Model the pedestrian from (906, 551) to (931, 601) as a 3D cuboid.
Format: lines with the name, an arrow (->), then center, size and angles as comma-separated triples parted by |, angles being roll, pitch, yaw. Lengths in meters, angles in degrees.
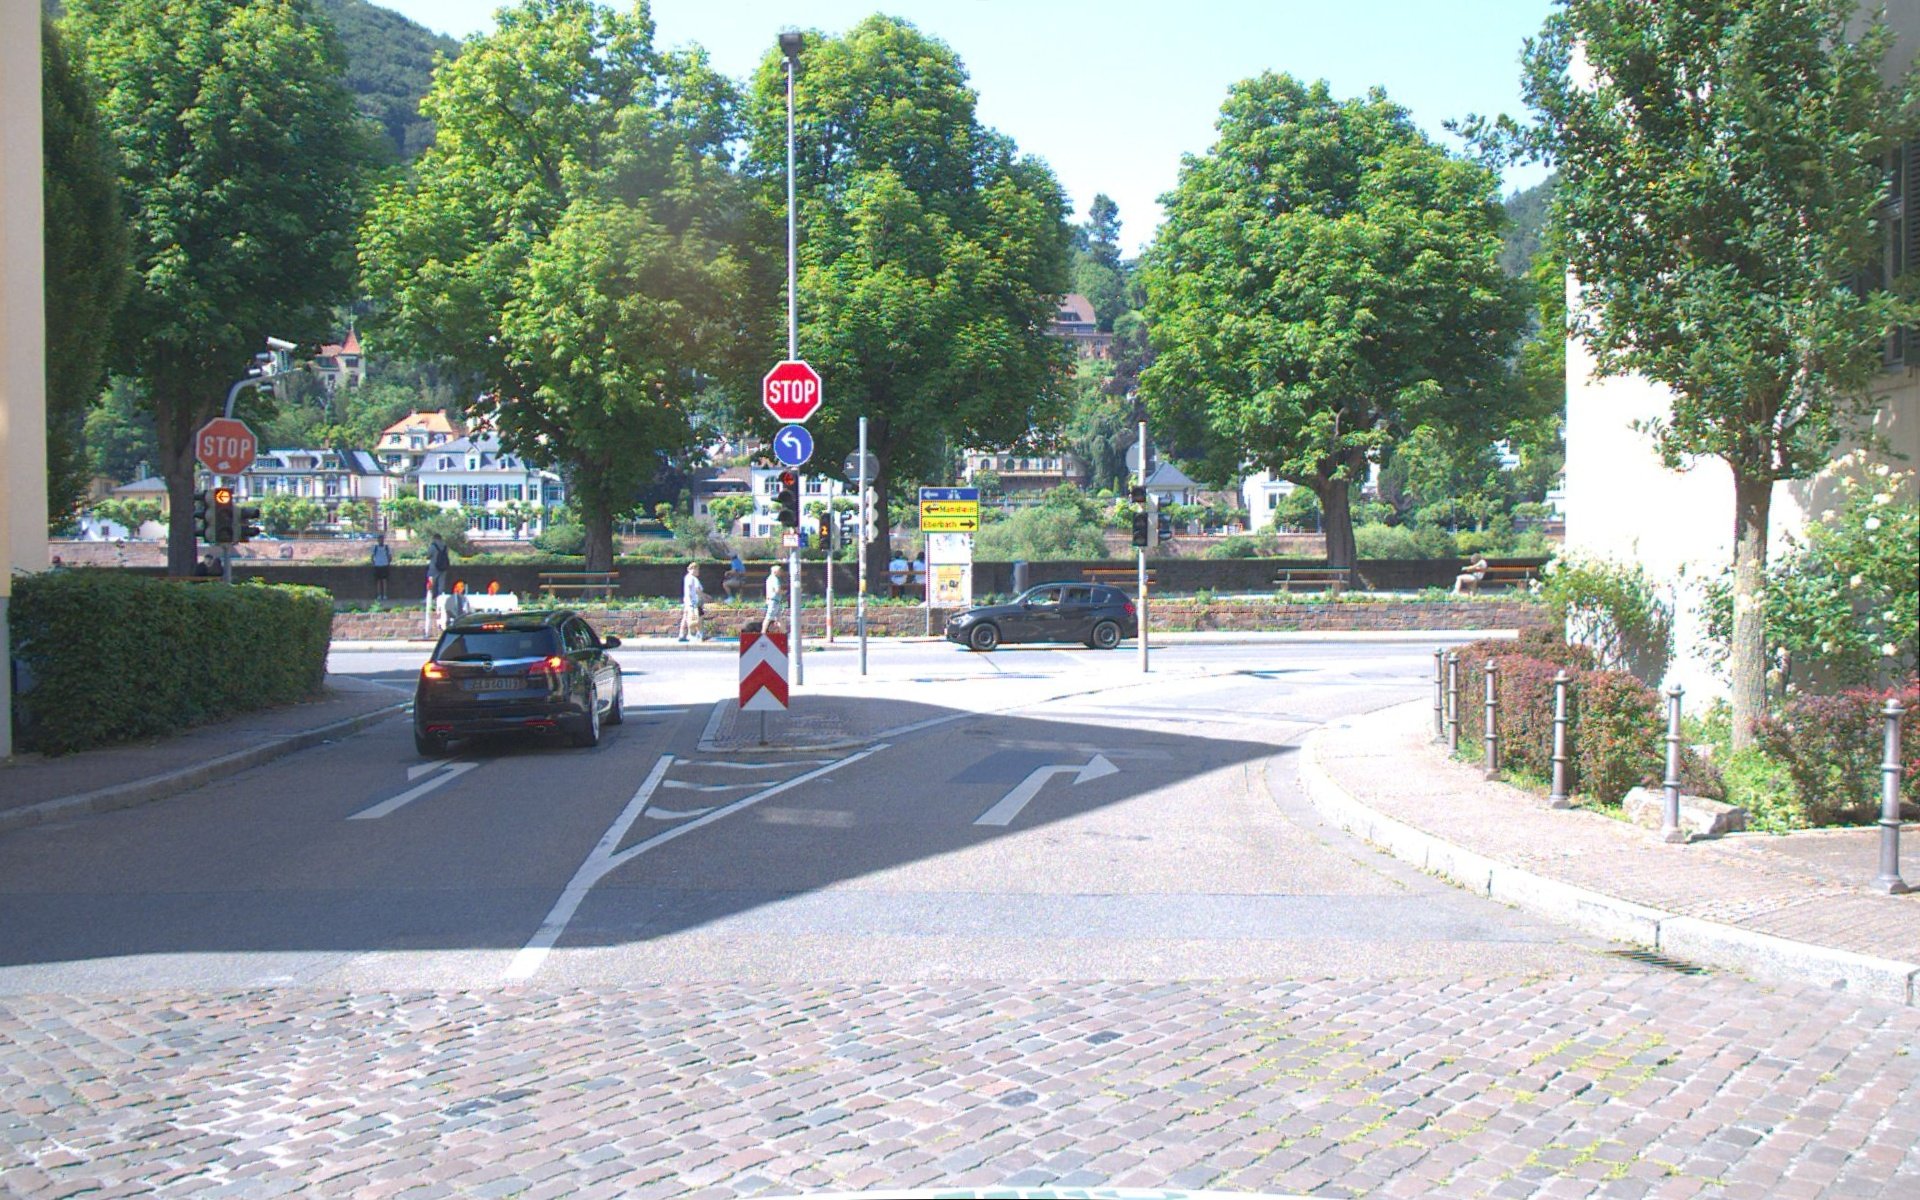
pedestrian -> -1.090, -0.614, 43.326 | 0.542, 1.250, 0.985 | 2, -2, -5

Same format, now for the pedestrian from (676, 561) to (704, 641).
pedestrian -> -6.236, 0.017, 38.232 | 0.566, 1.833, 0.705 | 0, 0, -3

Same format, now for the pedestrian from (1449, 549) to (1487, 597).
pedestrian -> 13.757, -0.718, 44.828 | 0.782, 1.232, 0.715 | 2, -2, -3

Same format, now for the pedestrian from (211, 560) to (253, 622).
pedestrian -> -18.179, -0.233, 41.343 | 0.457, 1.505, 1.385 | 0, 1, -1

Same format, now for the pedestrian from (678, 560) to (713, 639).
pedestrian -> -6.282, -0.013, 39.264 | 0.707, 1.833, 0.633 | -1, 0, -3

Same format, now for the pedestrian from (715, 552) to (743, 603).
pedestrian -> -5.896, -0.571, 42.240 | 0.631, 1.249, 0.413 | -3, 3, -15

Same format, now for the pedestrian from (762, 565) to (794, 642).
pedestrian -> -4.338, 0.088, 39.377 | 0.674, 1.800, 0.717 | -1, 0, -3

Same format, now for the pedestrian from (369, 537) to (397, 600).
pedestrian -> -16.297, -0.874, 46.747 | 0.696, 1.762, 0.753 | 0, 0, -16

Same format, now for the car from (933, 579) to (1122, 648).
car -> 1.417, 0.276, 35.977 | 3.909, 1.443, 1.873 | 0, 1, -5

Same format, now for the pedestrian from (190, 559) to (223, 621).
pedestrian -> -18.704, -0.248, 41.064 | 0.457, 1.519, 0.804 | 0, 1, -2

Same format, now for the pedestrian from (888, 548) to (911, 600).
pedestrian -> -1.584, -0.675, 43.112 | 0.542, 1.302, 0.703 | 2, -2, -3

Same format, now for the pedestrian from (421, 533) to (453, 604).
pedestrian -> -14.009, -0.830, 44.311 | 0.752, 1.890, 0.751 | 0, 0, -23

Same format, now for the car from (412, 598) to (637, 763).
car -> -4.742, 0.783, 18.629 | 1.681, 1.487, 4.719 | -2, 1, -6
